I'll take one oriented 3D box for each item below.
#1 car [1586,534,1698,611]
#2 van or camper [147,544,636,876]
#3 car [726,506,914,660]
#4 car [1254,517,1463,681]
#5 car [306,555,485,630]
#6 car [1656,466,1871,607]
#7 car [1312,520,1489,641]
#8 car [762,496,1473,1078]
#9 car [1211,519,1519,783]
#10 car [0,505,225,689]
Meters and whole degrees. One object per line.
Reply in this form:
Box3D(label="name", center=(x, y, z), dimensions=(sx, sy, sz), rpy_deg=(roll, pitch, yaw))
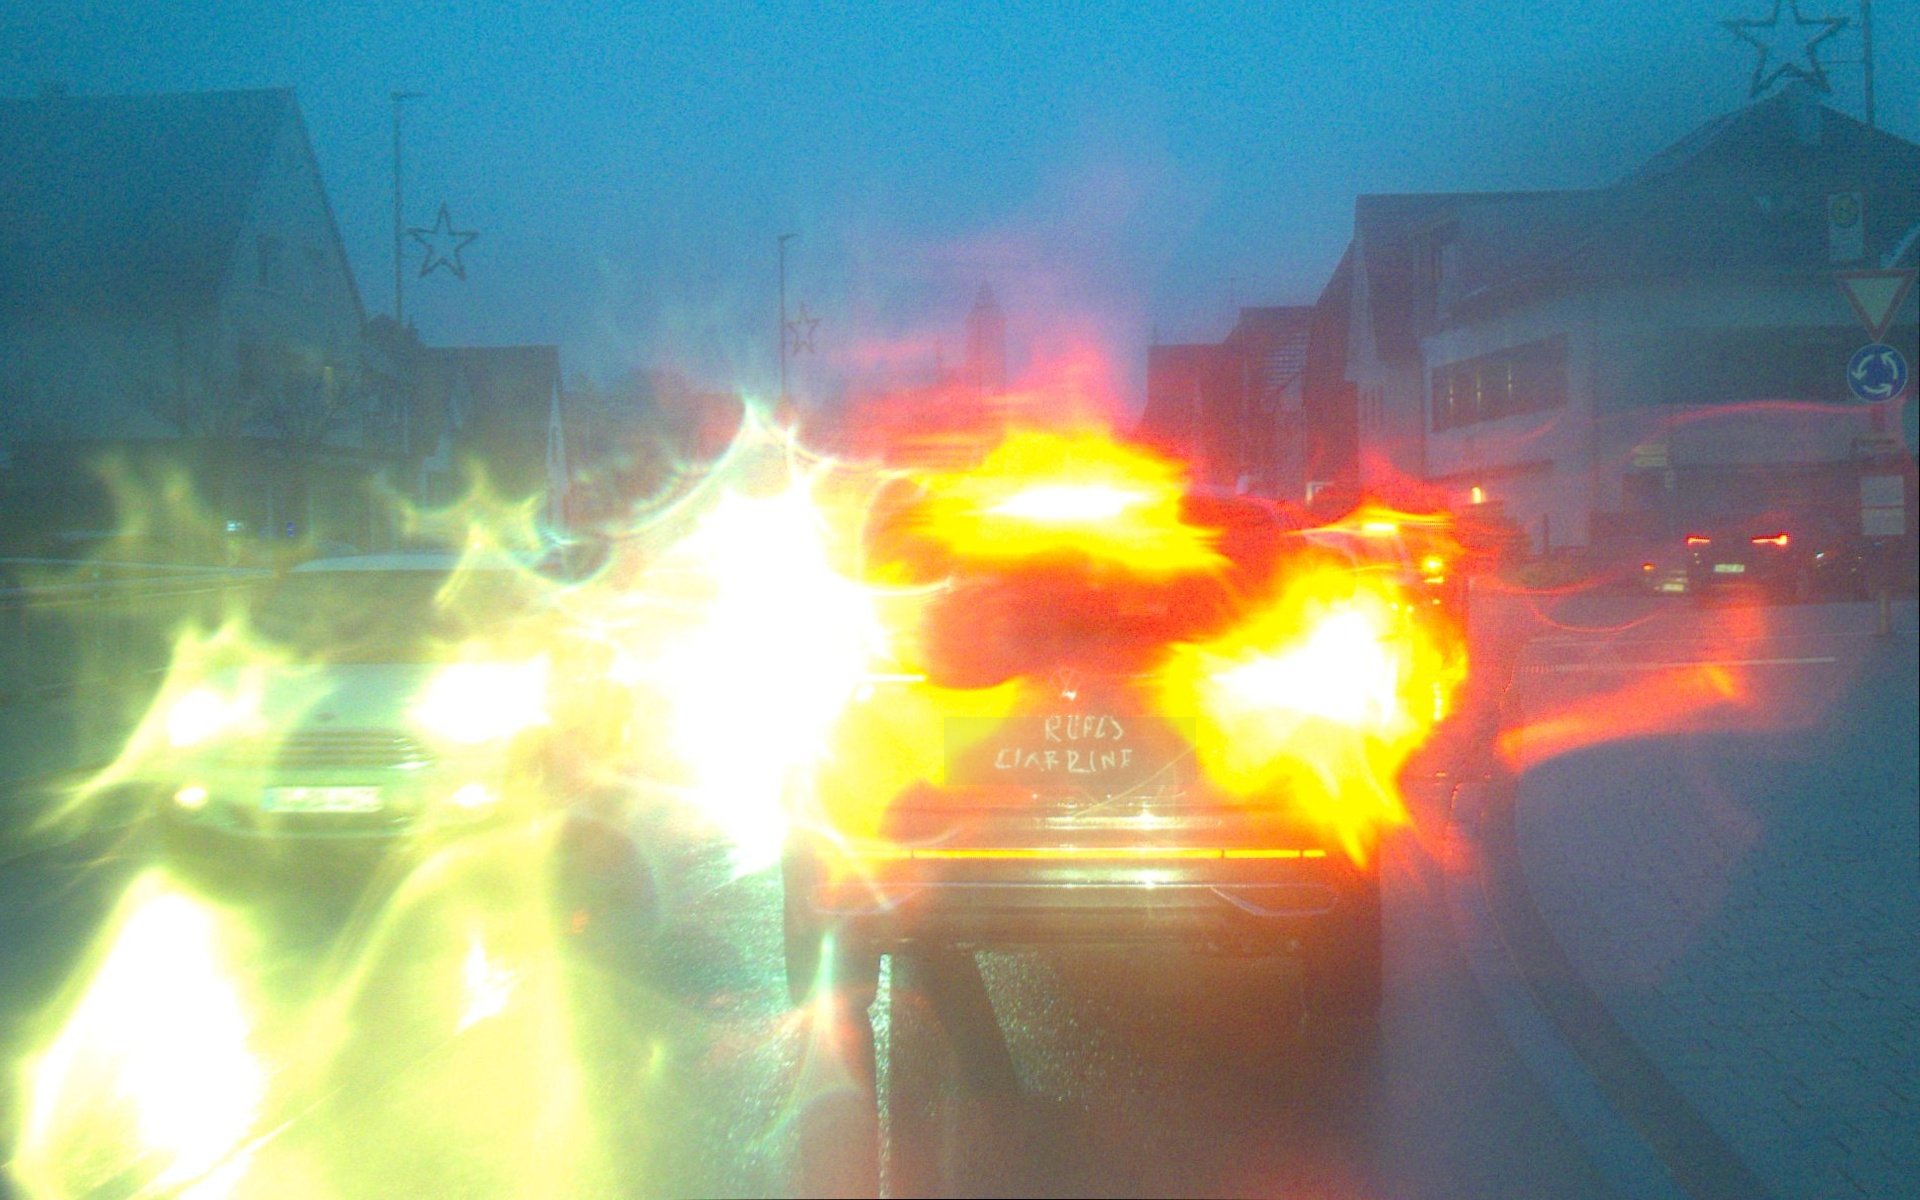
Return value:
Box3D(label="car", center=(14.019, -0.566, 70.799), dimensions=(1.565, 1.408, 3.601), rpy_deg=(-5, 0, 2))
Box3D(label="van or camper", center=(-2.581, 0.444, 16.338), dimensions=(1.562, 1.351, 3.422), rpy_deg=(-2, 1, 3))
Box3D(label="car", center=(-1.552, -0.239, 39.434), dimensions=(1.737, 1.647, 4.000), rpy_deg=(-1, 1, 3))
Box3D(label="car", center=(3.725, -0.056, 32.249), dimensions=(1.815, 1.407, 3.999), rpy_deg=(0, 2, 6))
Box3D(label="car", center=(-10.991, -0.136, 67.197), dimensions=(1.995, 1.413, 3.997), rpy_deg=(0, 0, 15))
Box3D(label="car", center=(12.954, -1.054, 55.232), dimensions=(2.161, 1.984, 4.493), rpy_deg=(-4, 1, 28))
Box3D(label="car", center=(5.391, -0.272, 42.498), dimensions=(1.994, 1.387, 4.000), rpy_deg=(-1, 1, 5))
Box3D(label="car", center=(0.655, 0.454, 11.689), dimensions=(1.965, 1.589, 4.312), rpy_deg=(1, 2, 6))
Box3D(label="car", center=(2.465, 0.246, 21.086), dimensions=(1.683, 1.448, 3.999), rpy_deg=(-1, 1, 6))
Box3D(label="car", center=(-9.663, -0.073, 38.736), dimensions=(2.037, 1.919, 4.058), rpy_deg=(-2, 1, -21))
